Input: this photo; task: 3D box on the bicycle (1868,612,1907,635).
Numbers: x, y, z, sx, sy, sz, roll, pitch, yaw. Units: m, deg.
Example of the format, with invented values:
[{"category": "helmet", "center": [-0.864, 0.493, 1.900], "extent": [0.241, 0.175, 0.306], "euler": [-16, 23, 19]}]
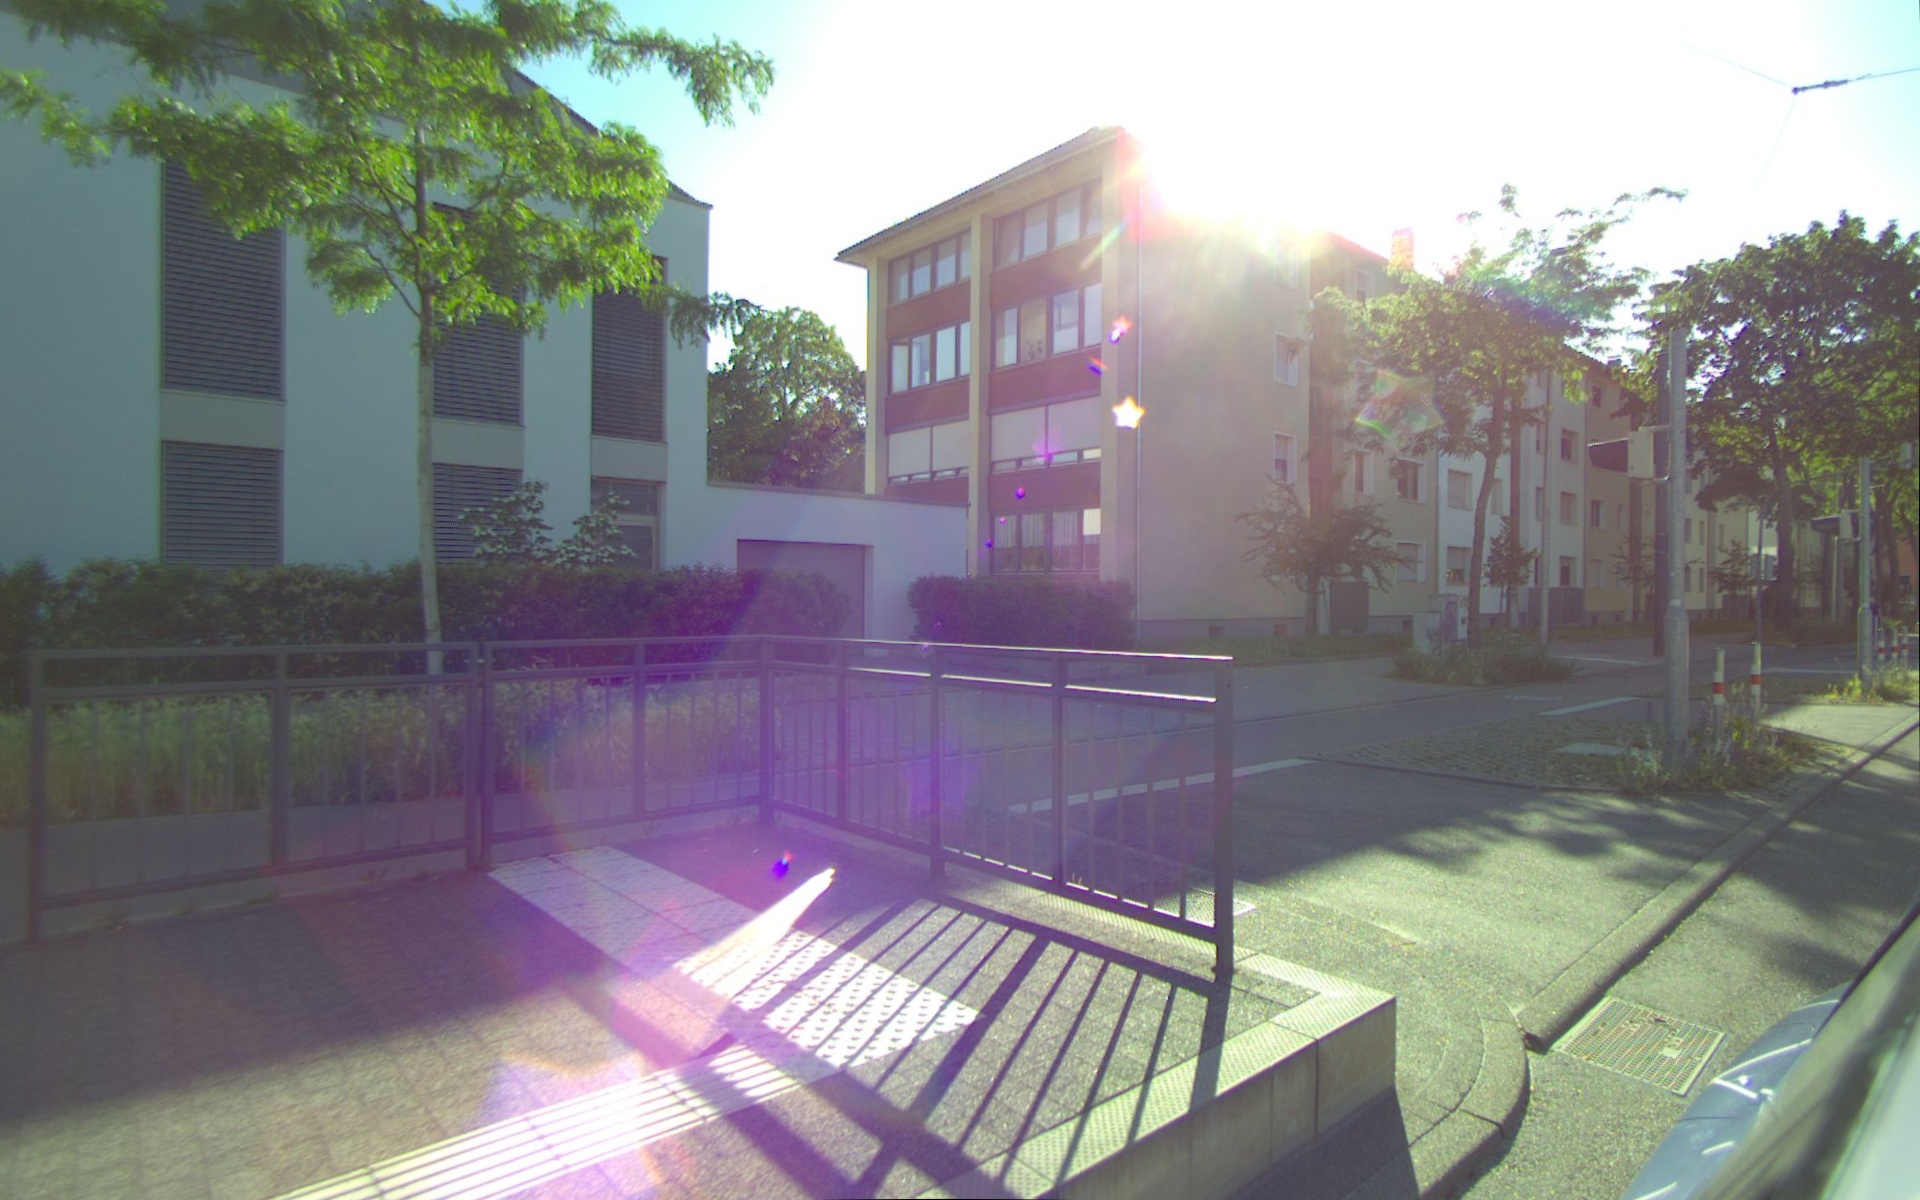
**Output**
[{"category": "bicycle", "center": [38.970, 0.984, 42.526], "extent": [2.157, 0.897, 0.827], "euler": [0, 0, -37]}]

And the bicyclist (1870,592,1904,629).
[{"category": "bicyclist", "center": [38.923, 0.451, 42.496], "extent": [1.235, 1.518, 0.819], "euler": [1, 0, -37]}]
